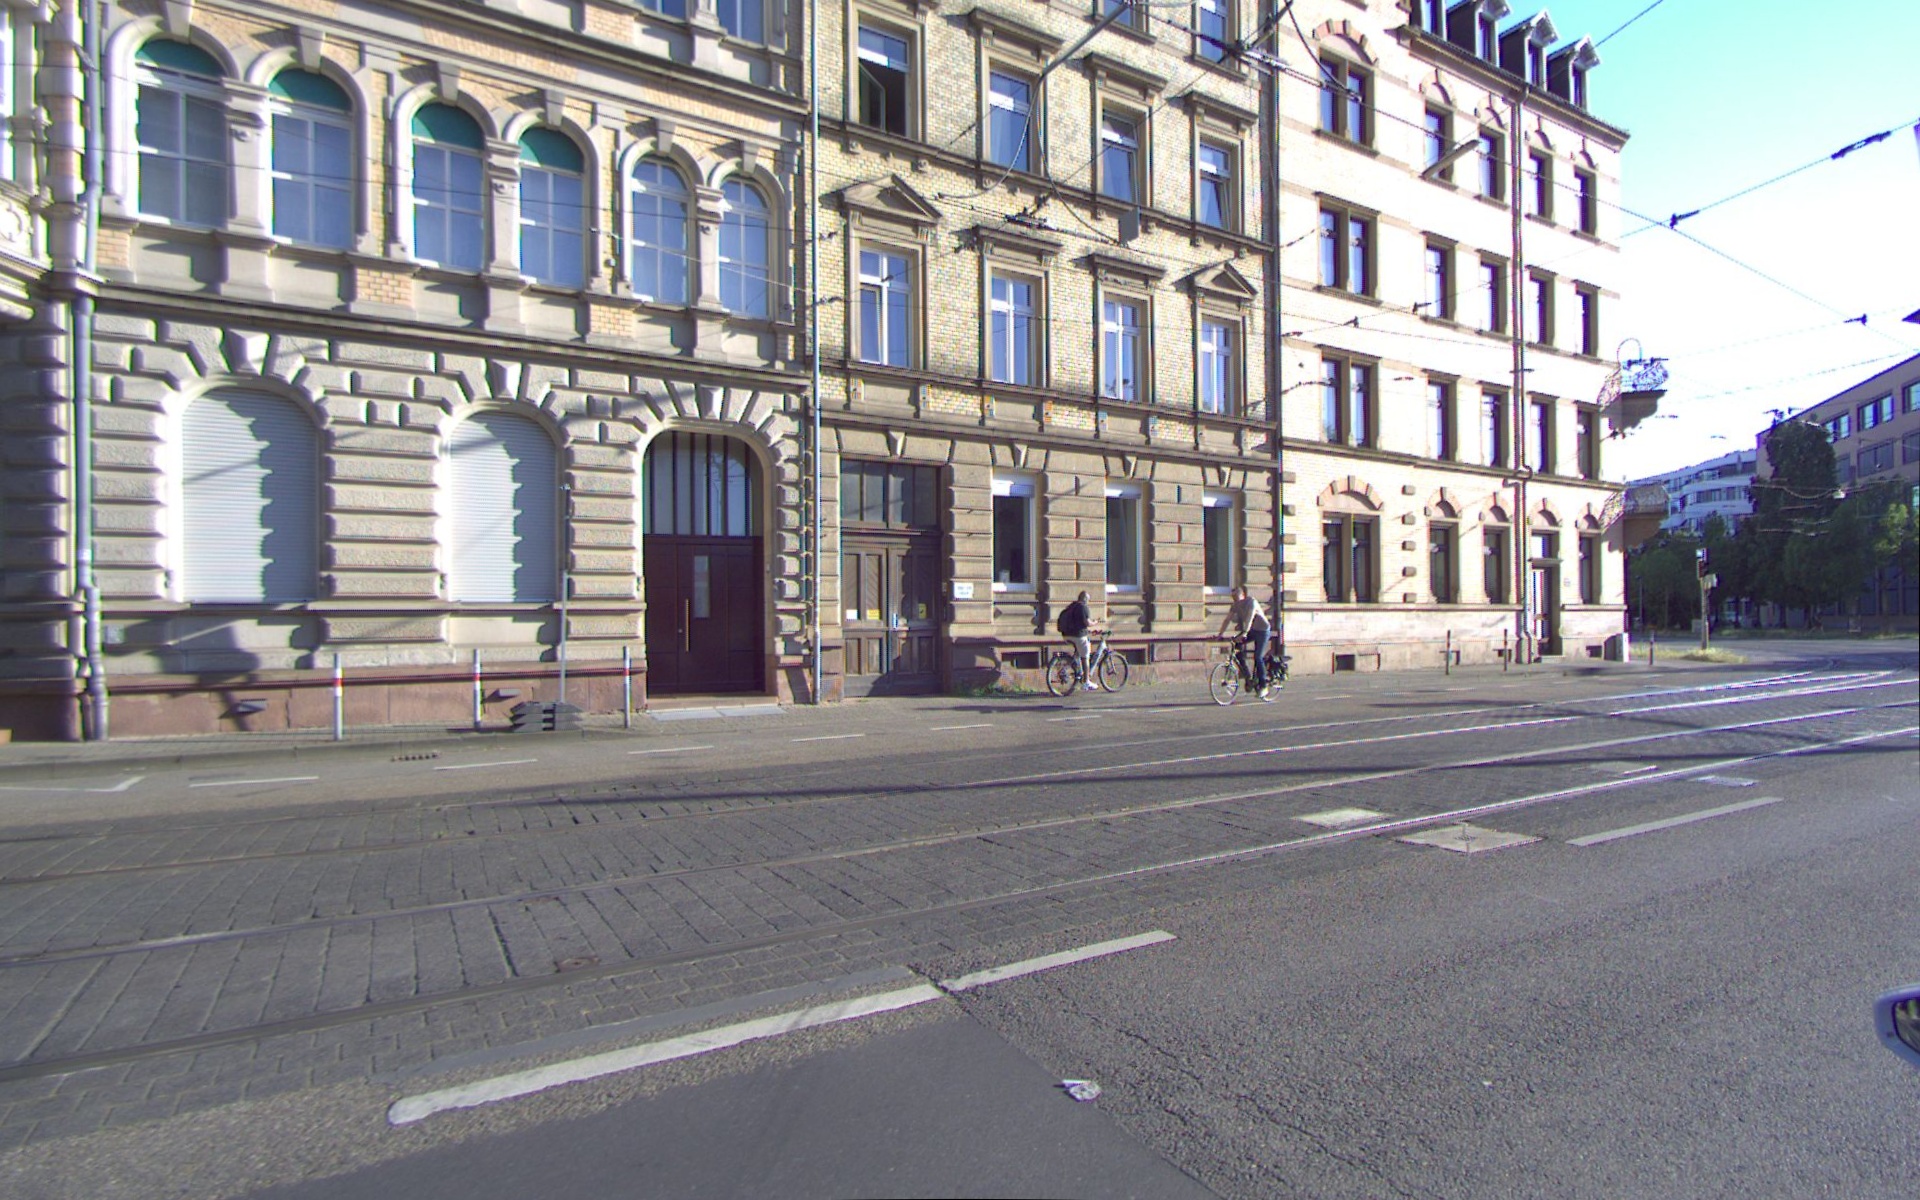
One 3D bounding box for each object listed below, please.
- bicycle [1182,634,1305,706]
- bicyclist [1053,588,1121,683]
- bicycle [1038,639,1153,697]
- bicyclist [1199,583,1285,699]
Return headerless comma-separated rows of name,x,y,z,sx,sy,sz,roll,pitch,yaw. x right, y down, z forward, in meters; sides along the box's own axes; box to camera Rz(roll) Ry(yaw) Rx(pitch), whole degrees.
bicycle,4.754,1.144,16.817,2.091,1.098,0.723,0,-1,-30
bicyclist,2.233,0.615,17.662,1.023,1.634,0.632,0,-1,-30
bicycle,2.408,1.179,17.757,2.063,0.952,0.644,0,-1,-30
bicyclist,4.721,0.666,16.813,1.198,1.865,0.724,0,-1,-30
